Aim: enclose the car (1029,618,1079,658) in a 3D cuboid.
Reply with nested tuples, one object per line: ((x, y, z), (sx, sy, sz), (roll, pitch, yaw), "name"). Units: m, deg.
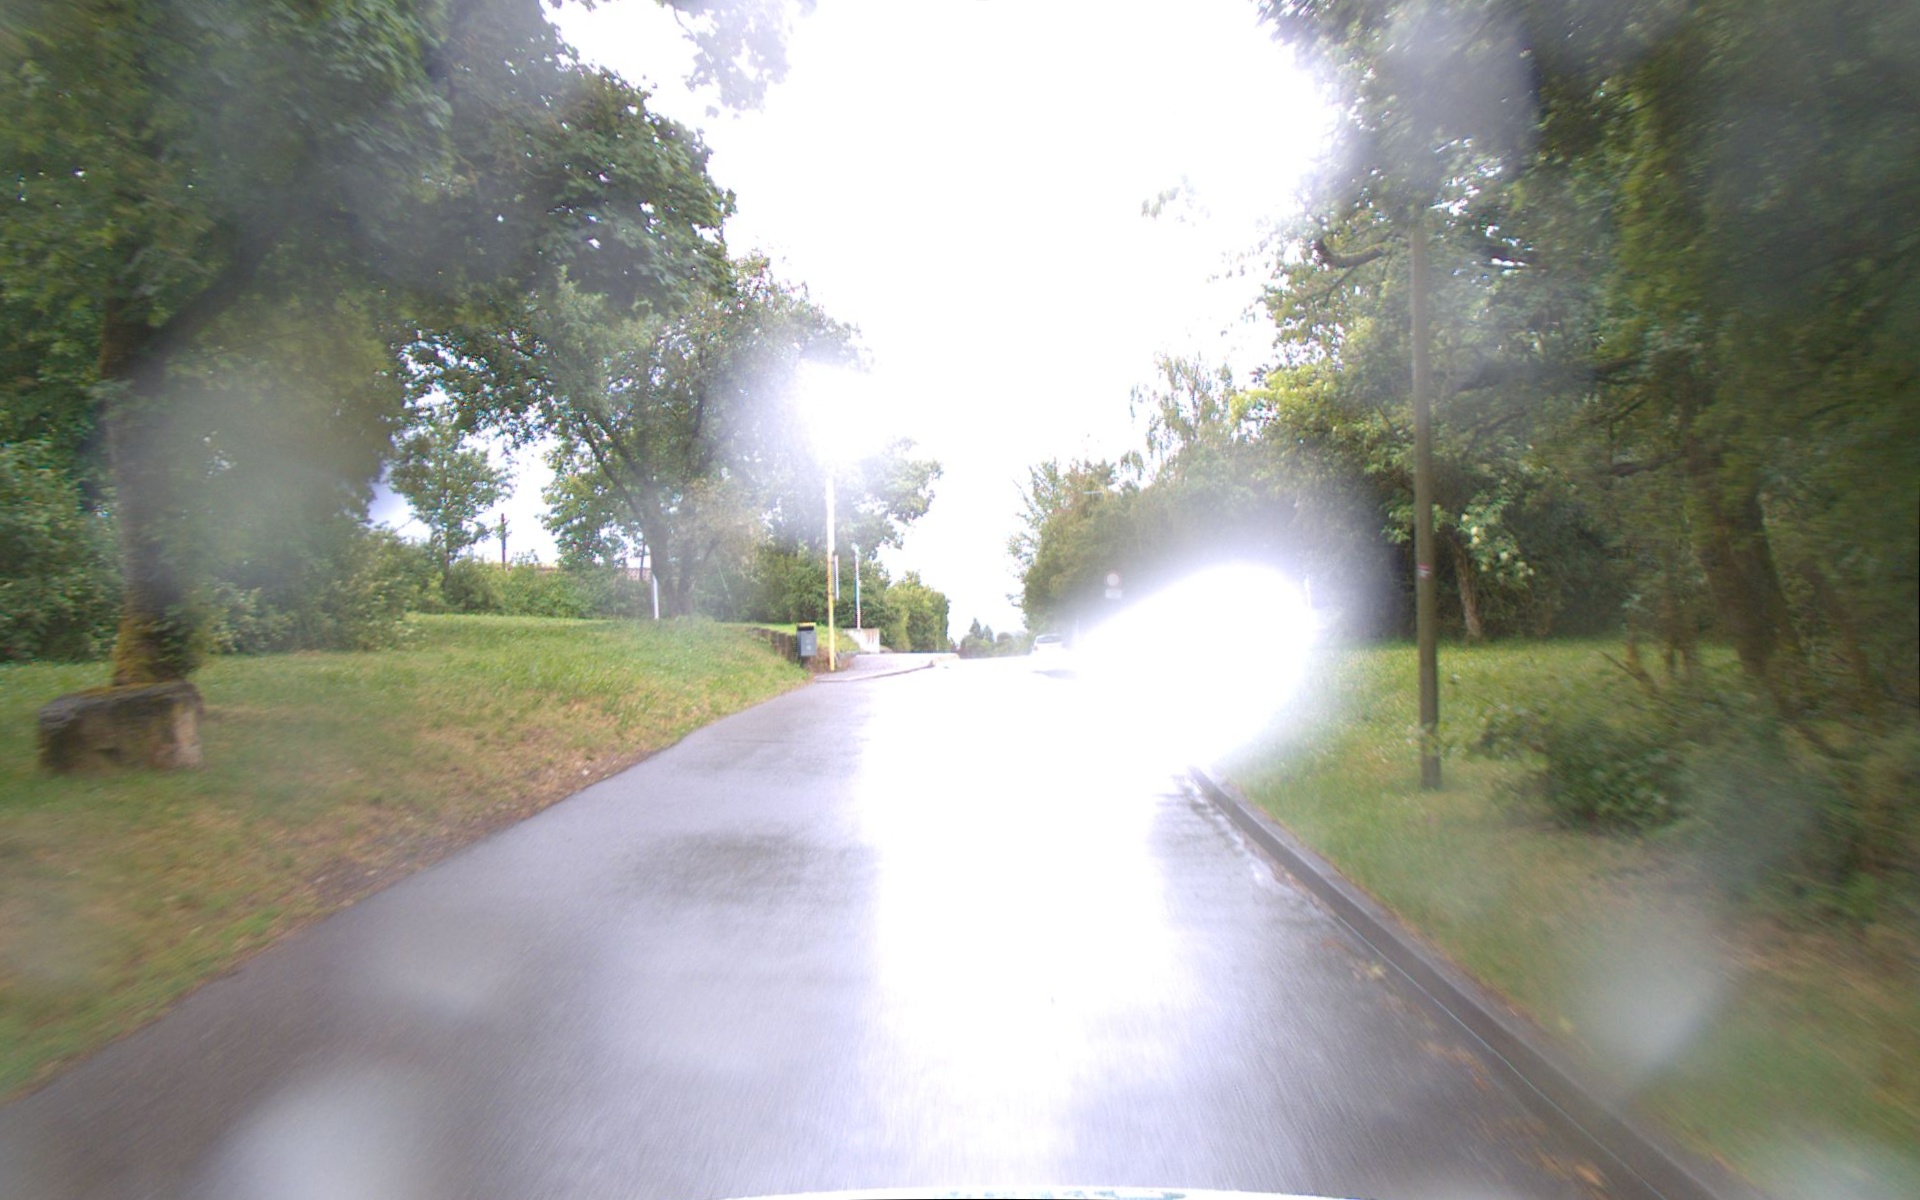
((4.291, 1.753, 74.784), (1.951, 1.611, 4.002), (-2, -4, 7), "car")
